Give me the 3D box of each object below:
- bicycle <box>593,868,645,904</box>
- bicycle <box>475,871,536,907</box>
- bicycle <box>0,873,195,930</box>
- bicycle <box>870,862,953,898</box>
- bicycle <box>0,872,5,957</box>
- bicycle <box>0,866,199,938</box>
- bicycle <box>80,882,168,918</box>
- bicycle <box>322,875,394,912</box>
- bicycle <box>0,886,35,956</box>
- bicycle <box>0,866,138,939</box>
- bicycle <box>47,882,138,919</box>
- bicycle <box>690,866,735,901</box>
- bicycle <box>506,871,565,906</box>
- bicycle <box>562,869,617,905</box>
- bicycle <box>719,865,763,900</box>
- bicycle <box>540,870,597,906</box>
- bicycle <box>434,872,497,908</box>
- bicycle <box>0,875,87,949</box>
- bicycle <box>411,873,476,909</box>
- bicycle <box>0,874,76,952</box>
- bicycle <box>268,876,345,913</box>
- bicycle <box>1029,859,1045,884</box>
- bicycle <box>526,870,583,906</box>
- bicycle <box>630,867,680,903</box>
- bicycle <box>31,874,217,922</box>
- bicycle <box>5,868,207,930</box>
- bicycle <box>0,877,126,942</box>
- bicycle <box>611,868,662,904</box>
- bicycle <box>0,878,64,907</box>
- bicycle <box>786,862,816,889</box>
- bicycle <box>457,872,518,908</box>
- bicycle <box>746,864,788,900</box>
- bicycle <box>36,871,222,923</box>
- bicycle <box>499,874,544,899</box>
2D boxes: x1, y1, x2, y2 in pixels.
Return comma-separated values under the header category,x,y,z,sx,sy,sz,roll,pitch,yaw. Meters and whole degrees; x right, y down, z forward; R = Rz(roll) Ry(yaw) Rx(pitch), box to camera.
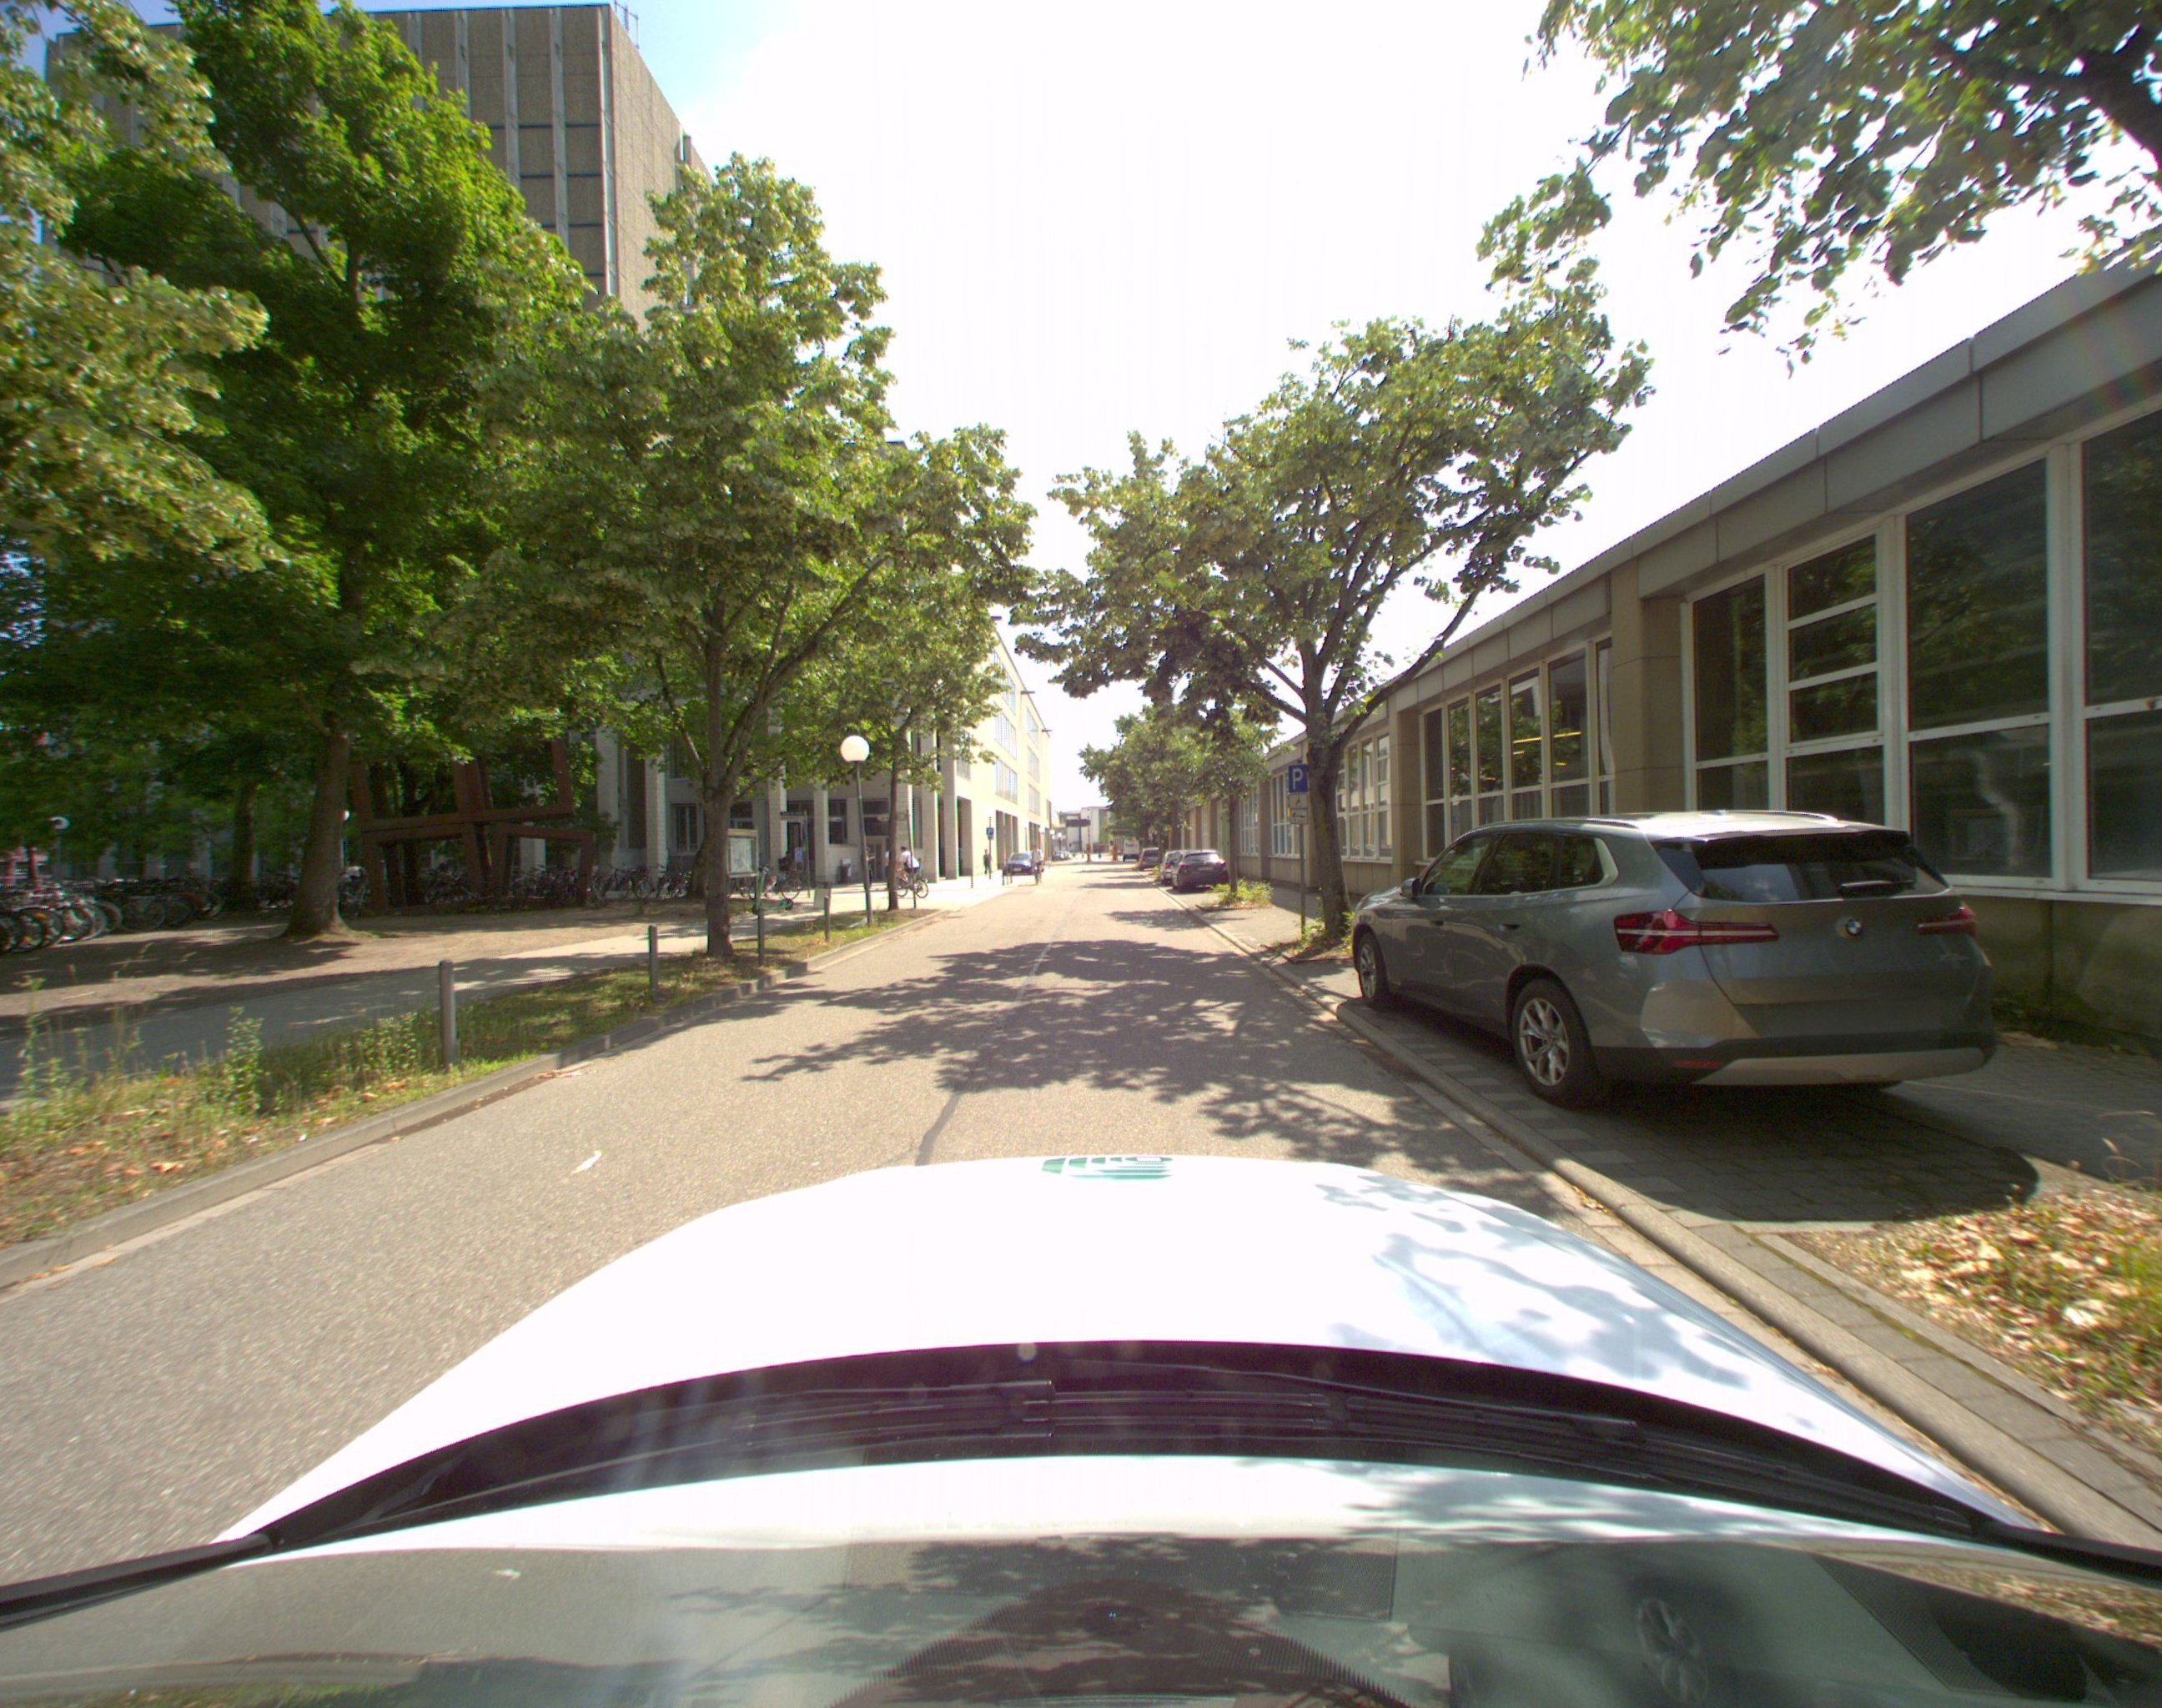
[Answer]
category,x,y,z,sx,sy,sz,roll,pitch,yaw
bicycle,-15.291,1.044,27.011,0.550,1.086,1.974,1,0,2
bicycle,-18.952,1.143,26.880,0.550,1.086,1.974,1,0,2
bicycle,-21.126,0.982,17.334,2.976,1.126,0.734,2,-1,-41
bicycle,-5.991,0.924,28.851,2.721,1.199,0.888,-1,0,13
bicycle,-16.526,0.898,10.586,2.924,1.220,0.872,-1,0,-41
bicycle,-20.220,0.939,16.501,3.099,1.297,0.872,-1,0,-41
bicycle,-32.052,1.518,27.320,0.550,1.086,1.974,1,0,2
bicycle,-23.739,1.273,26.786,0.550,1.086,1.974,1,0,2
bicycle,-17.124,1.020,11.512,2.748,1.002,0.872,-1,0,-41
bicycle,-20.075,0.916,15.313,2.949,1.287,0.872,-1,0,-41
bicycle,-32.799,1.532,27.064,0.550,1.086,1.974,1,0,2
bicycle,-12.317,0.968,27.260,0.550,1.086,1.974,1,0,2
bicycle,-18.019,1.119,26.957,0.550,1.086,1.974,1,0,2
bicycle,-16.139,1.062,26.804,0.550,1.086,1.974,1,0,2
bicycle,-11.218,0.929,26.943,0.550,1.086,1.974,1,0,2
bicycle,-16.837,1.082,26.804,0.550,1.086,1.974,1,0,2
bicycle,-20.362,1.185,26.993,0.550,1.086,1.974,1,0,2
bicycle,-18.489,0.979,13.302,2.723,1.179,0.872,-1,0,-41
bicycle,-21.086,1.204,26.980,0.550,1.086,1.974,1,0,2
bicycle,-17.728,0.945,12.420,2.899,1.178,0.872,-1,0,-41
bicycle,-25.259,1.310,26.609,0.550,1.086,1.974,1,0,2
bicycle,-2.121,0.848,39.390,0.683,1.129,1.888,-2,0,0
bicycle,-17.408,1.102,26.972,0.550,1.086,1.974,1,0,2
bicycle,-14.038,1.006,26.888,0.550,1.086,1.974,1,0,2
bicycle,-22.792,1.024,19.504,2.777,1.069,0.734,2,-1,-41
bicycle,-22.108,0.987,18.595,2.852,1.233,0.734,-2,0,-41
bicycle,-19.148,1.001,14.475,2.698,1.076,0.872,-1,0,-41
bicycle,-14.645,1.023,26.872,0.550,1.086,1.974,1,0,2
bicycle,-35.432,1.278,27.030,0.417,0.875,2.286,0,0,2
bicycle,-11.942,0.906,34.781,0.462,1.014,1.868,0,2,6
bicycle,-19.726,1.170,27.115,0.550,1.086,1.974,1,0,2
bicycle,-10.277,0.898,26.731,0.550,1.086,1.974,1,0,2
bicycle,-23.605,1.034,20.307,2.927,1.156,0.734,-1,0,-41
bicycle,-24.226,1.388,35.288,0.523,0.946,1.994,-1,0,1
